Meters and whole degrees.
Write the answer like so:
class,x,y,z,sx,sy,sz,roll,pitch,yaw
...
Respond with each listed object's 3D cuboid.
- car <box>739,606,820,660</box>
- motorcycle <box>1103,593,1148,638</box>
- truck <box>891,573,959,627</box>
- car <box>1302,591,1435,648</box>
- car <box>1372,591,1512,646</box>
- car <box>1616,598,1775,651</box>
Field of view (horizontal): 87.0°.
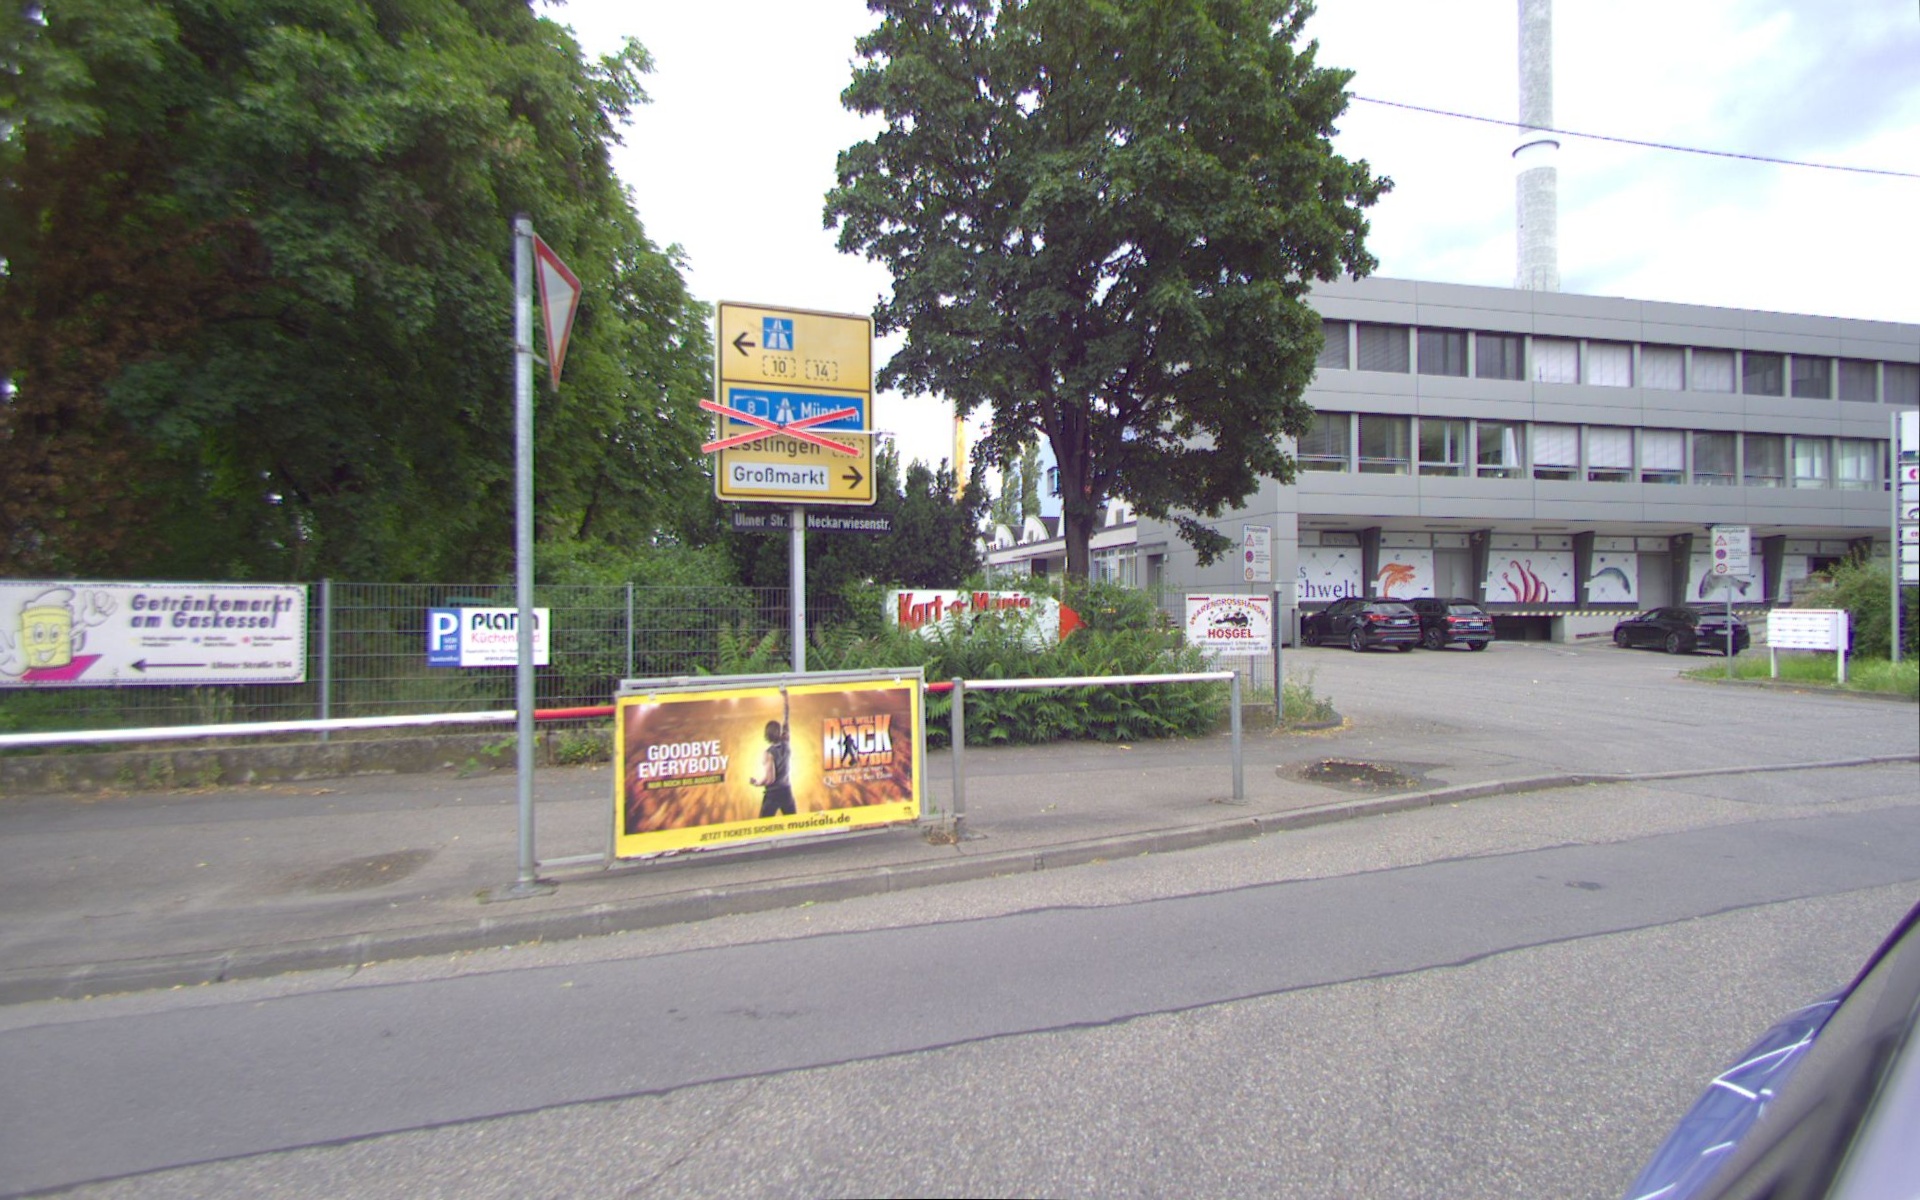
class,x,y,z,sx,sy,sz,roll,pitch,yaw
car,-4.619,0.779,25.538,1.673,1.264,3.709,0,0,-16
motorcycle,6.502,0.582,39.569,1.182,1.676,2.874,0,-1,21
truck,-3.152,0.038,83.788,2.813,4.076,15.878,0,0,-12
car,13.010,0.564,32.563,1.801,1.638,4.474,0,1,-11
car,15.645,0.548,33.150,1.800,1.638,4.432,0,1,-12
car,23.863,0.735,33.107,2.015,1.463,4.822,0,2,6
